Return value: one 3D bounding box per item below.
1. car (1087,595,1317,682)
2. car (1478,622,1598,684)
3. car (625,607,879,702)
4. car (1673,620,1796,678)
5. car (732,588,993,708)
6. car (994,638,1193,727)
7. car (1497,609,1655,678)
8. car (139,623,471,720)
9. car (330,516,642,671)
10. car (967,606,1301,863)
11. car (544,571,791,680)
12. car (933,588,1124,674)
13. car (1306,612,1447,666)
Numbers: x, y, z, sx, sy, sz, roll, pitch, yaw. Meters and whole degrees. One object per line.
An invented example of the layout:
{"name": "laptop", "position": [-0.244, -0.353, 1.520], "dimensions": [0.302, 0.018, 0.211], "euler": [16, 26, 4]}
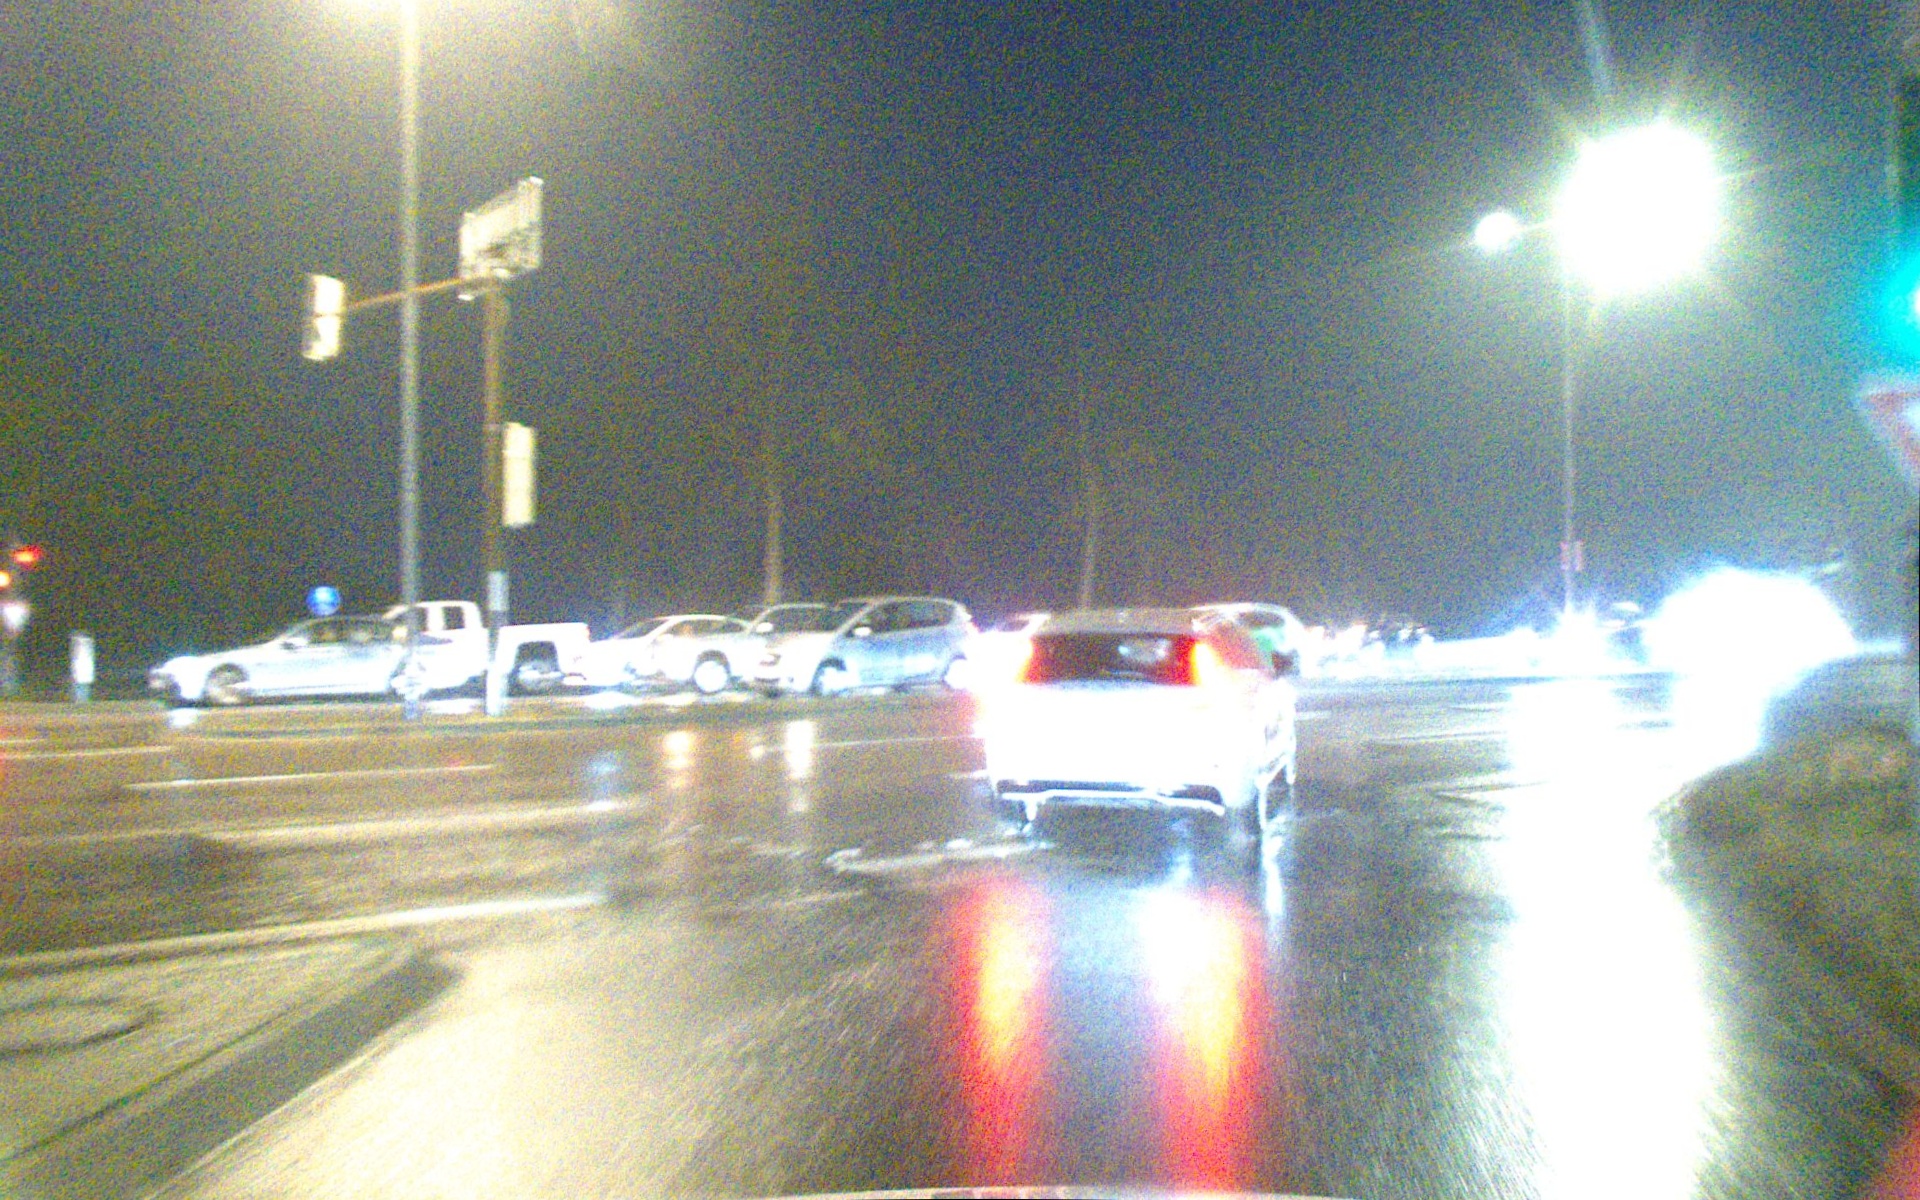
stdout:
{"name": "car", "position": [4.557, 0.677, 30.806], "dimensions": [4.368, 1.510, 1.758], "euler": [0, -1, -39]}
{"name": "car", "position": [18.433, 1.694, 52.678], "dimensions": [3.961, 1.881, 1.803], "euler": [3, -2, -39]}
{"name": "car", "position": [-3.531, 0.943, 28.350], "dimensions": [4.012, 1.513, 1.696], "euler": [2, -2, -36]}
{"name": "car", "position": [24.534, 1.561, 52.318], "dimensions": [4.444, 1.695, 1.779], "euler": [3, -1, -40]}
{"name": "car", "position": [-1.512, 0.709, 26.229], "dimensions": [3.861, 1.755, 1.742], "euler": [0, 0, -38]}
{"name": "car", "position": [2.746, 1.655, 33.586], "dimensions": [3.938, 1.695, 1.778], "euler": [2, -2, -40]}
{"name": "car", "position": [15.102, 1.048, 40.446], "dimensions": [4.266, 1.605, 1.792], "euler": [0, -2, -41]}
{"name": "car", "position": [-10.618, 1.154, 27.018], "dimensions": [4.755, 1.452, 1.741], "euler": [2, -2, -39]}
{"name": "car", "position": [-9.388, -0.073, 32.910], "dimensions": [5.533, 2.757, 2.233], "euler": [3, -1, -31]}
{"name": "car", "position": [1.451, 0.810, 12.021], "dimensions": [1.758, 1.477, 4.271], "euler": [1, 0, 15]}
{"name": "car", "position": [-5.465, 0.500, 31.195], "dimensions": [4.243, 1.880, 1.740], "euler": [3, -1, -40]}
{"name": "car", "position": [1.580, 0.737, 37.297], "dimensions": [4.209, 1.831, 1.778], "euler": [2, -2, -40]}
{"name": "car", "position": [11.375, 1.037, 45.100], "dimensions": [4.001, 1.401, 1.740], "euler": [0, -1, -40]}
